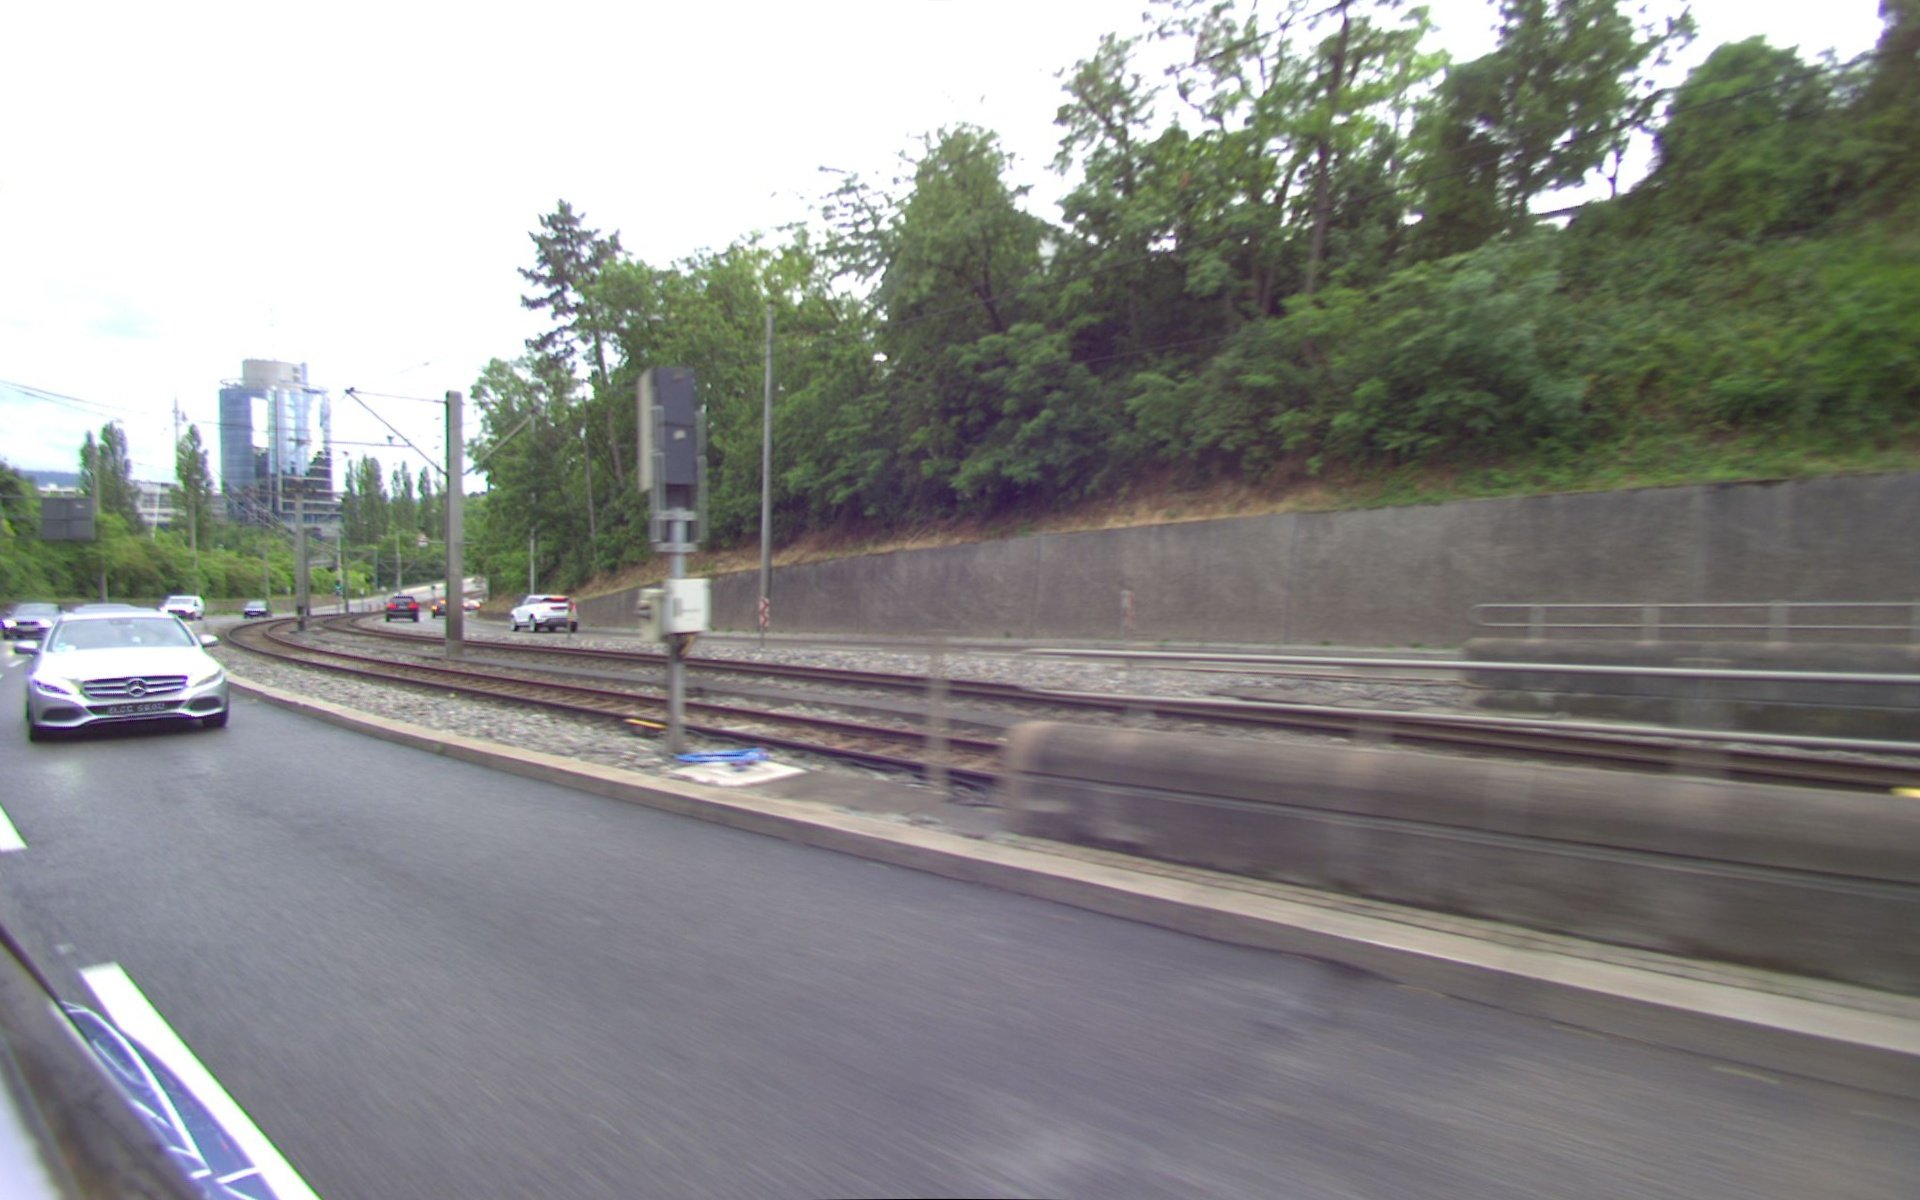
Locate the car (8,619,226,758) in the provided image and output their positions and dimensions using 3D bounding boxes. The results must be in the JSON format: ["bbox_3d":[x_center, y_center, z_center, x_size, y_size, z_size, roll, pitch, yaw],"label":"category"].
[{"bbox_3d":[-10.592,0.960,12.660,1.834,1.413,4.320,0,-1,-42],"label":"car"}]

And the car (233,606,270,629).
[{"bbox_3d":[-63.409,1.556,90.639,1.965,2.029,4.509,0,-1,-26],"label":"car"}]

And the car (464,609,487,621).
[{"bbox_3d":[-61.269,1.871,128.000,1.777,1.434,4.475,-1,0,-15],"label":"car"}]

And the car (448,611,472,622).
[{"bbox_3d":[-69.440,2.310,140.491,1.880,1.469,4.472,0,-1,-11],"label":"car"}]

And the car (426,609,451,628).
[{"bbox_3d":[-43.647,1.550,84.745,1.799,1.482,4.427,1,-1,-27],"label":"car"}]

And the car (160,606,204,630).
[{"bbox_3d":[-59.979,1.348,78.108,1.780,1.521,4.014,-2,3,-25],"label":"car"}]

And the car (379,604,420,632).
[{"bbox_3d":[-38.428,1.209,69.352,2.203,1.845,5.152,0,-1,-32],"label":"car"}]

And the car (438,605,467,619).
[{"bbox_3d":[-54.031,1.305,107.900,1.868,1.392,4.465,0,-1,-14],"label":"car"}]

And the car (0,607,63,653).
[{"bbox_3d":[-37.270,1.146,40.653,1.783,1.521,4.006,-3,4,-41],"label":"car"}]

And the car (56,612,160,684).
[{"bbox_3d":[-19.557,1.035,23.298,1.703,1.482,3.894,-1,0,-39],"label":"car"}]

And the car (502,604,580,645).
[{"bbox_3d":[-18.604,1.053,44.810,1.911,1.696,4.414,0,-1,-41],"label":"car"}]
